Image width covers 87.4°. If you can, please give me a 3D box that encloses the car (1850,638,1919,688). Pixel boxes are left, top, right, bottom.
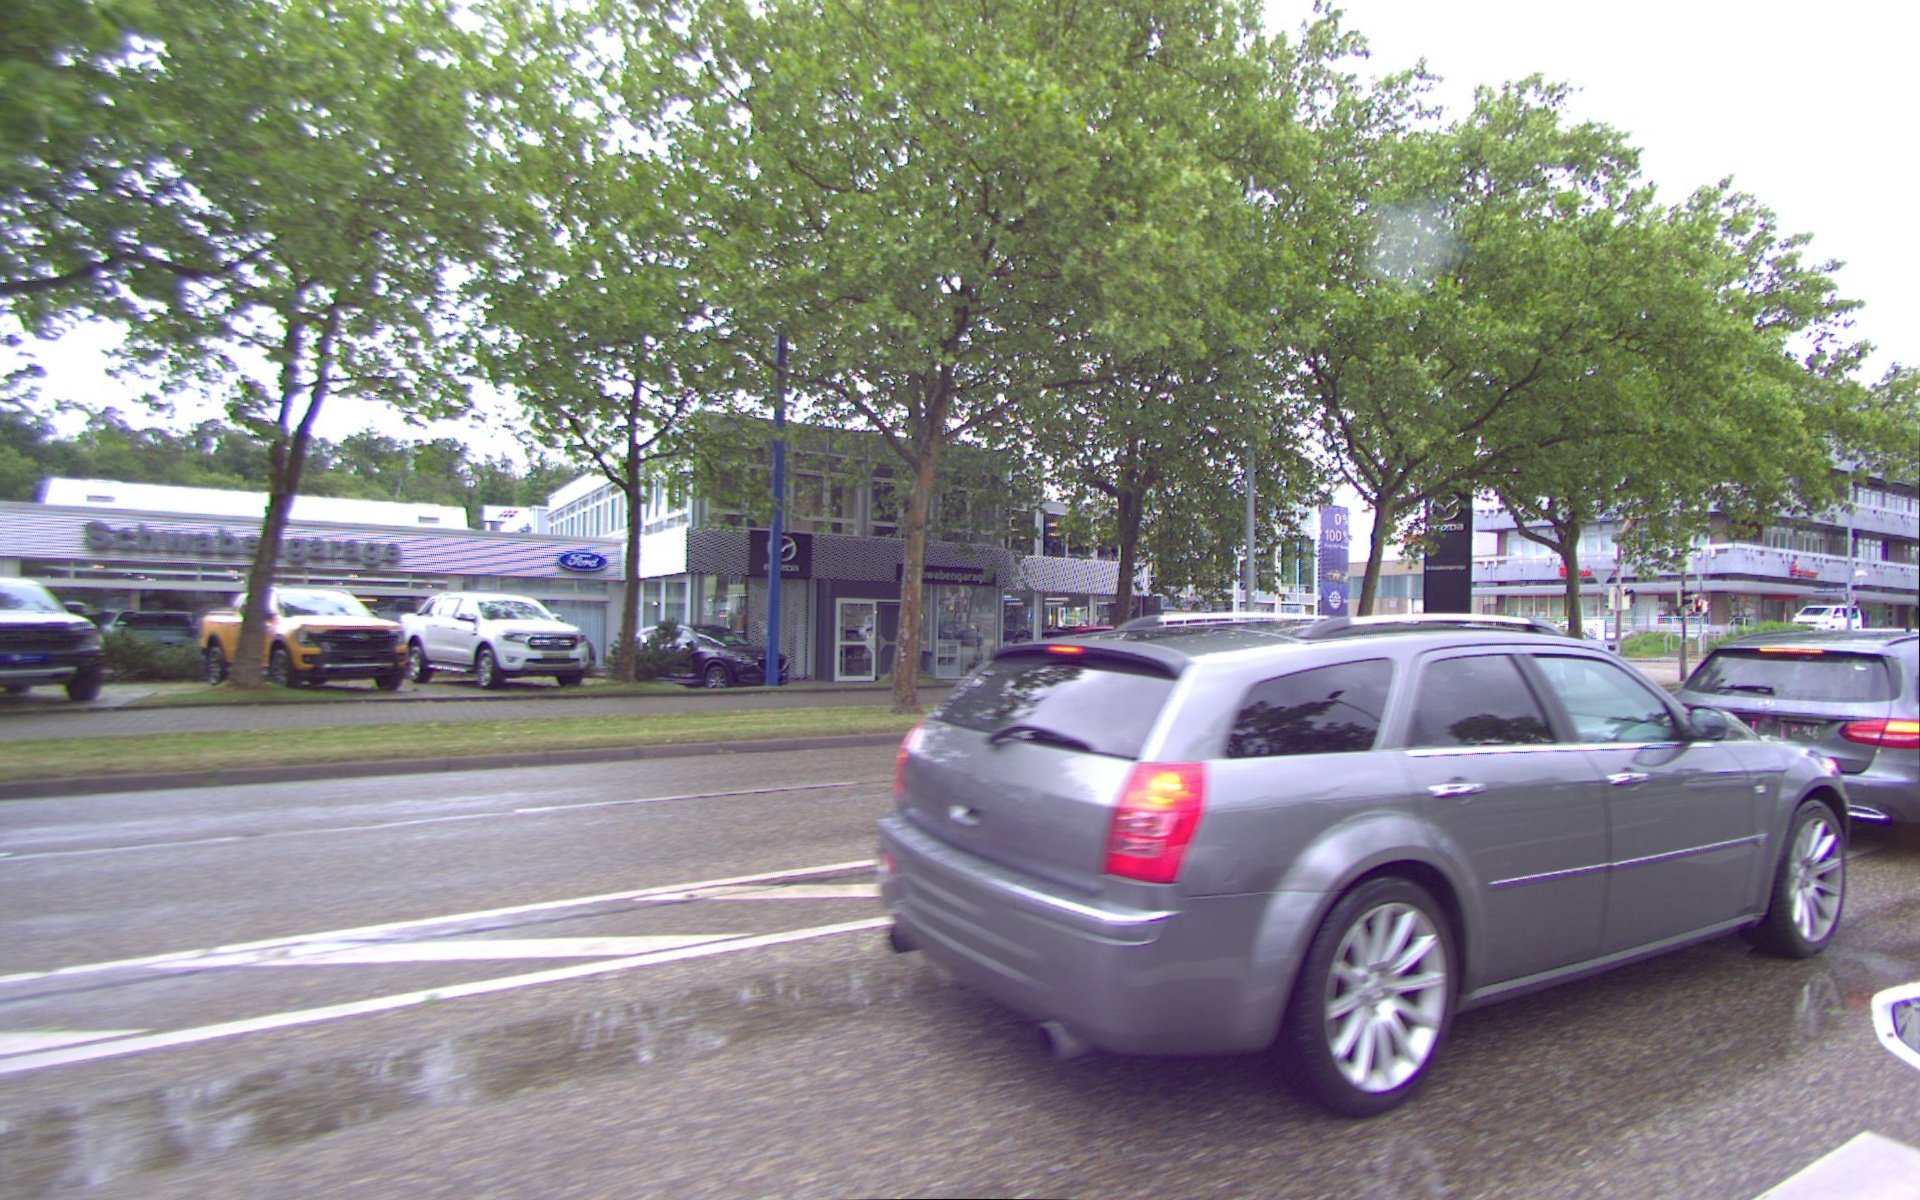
[{"bbox_3d":[28.471,1.855,30.040,4.129,1.401,1.701,1,-4,-33],"label":"car"}]

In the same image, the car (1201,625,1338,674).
[{"bbox_3d":[10.793,1.713,35.146,4.165,1.617,1.993,-2,-3,37],"label":"car"}]

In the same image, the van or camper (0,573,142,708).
[{"bbox_3d":[-15.032,0.576,15.598,5.212,1.845,2.259,0,-2,35],"label":"van or camper"}]

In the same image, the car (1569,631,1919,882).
[{"bbox_3d":[7.029,0.972,7.807,4.499,1.448,1.985,1,-3,-30],"label":"car"}]

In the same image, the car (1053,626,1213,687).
[{"bbox_3d":[5.316,1.688,31.149,4.497,1.617,1.992,1,-1,38],"label":"car"}]

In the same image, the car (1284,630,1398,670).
[{"bbox_3d":[14.235,1.827,37.691,1.673,1.409,3.717,1,-2,-34],"label":"car"}]

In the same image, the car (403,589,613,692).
[{"bbox_3d":[-9.079,0.767,20.069,4.398,1.840,1.992,0,-2,38],"label":"car"}]

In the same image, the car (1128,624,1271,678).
[{"bbox_3d":[7.889,1.683,33.201,4.165,1.674,2.005,-2,-3,37],"label":"car"}]

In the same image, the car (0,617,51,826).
[{"bbox_3d":[-8.710,0.827,6.387,4.040,1.484,1.701,2,-2,-32],"label":"car"}]

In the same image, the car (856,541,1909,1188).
[{"bbox_3d":[2.120,0.731,4.550,4.823,1.599,1.898,2,-2,-30],"label":"car"}]

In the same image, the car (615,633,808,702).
[{"bbox_3d":[-5.999,1.550,24.122,4.390,1.469,1.996,0,-2,32],"label":"car"}]

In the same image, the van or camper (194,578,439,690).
[{"bbox_3d":[-12.093,0.635,18.737,5.291,1.792,2.098,0,-5,38],"label":"van or camper"}]

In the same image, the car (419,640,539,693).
[{"bbox_3d":[-13.039,1.775,27.478,1.623,1.272,3.778,1,-2,-4],"label":"car"}]

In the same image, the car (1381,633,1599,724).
[{"bbox_3d":[9.647,1.362,18.211,4.040,1.484,1.701,2,-2,-32],"label":"car"}]

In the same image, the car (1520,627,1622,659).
[{"bbox_3d":[31.521,2.191,51.924,1.858,1.508,4.127,1,-1,-31],"label":"car"}]

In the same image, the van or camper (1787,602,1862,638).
[{"bbox_3d":[52.321,1.223,60.781,4.733,1.993,1.983,2,0,-31],"label":"van or camper"}]
